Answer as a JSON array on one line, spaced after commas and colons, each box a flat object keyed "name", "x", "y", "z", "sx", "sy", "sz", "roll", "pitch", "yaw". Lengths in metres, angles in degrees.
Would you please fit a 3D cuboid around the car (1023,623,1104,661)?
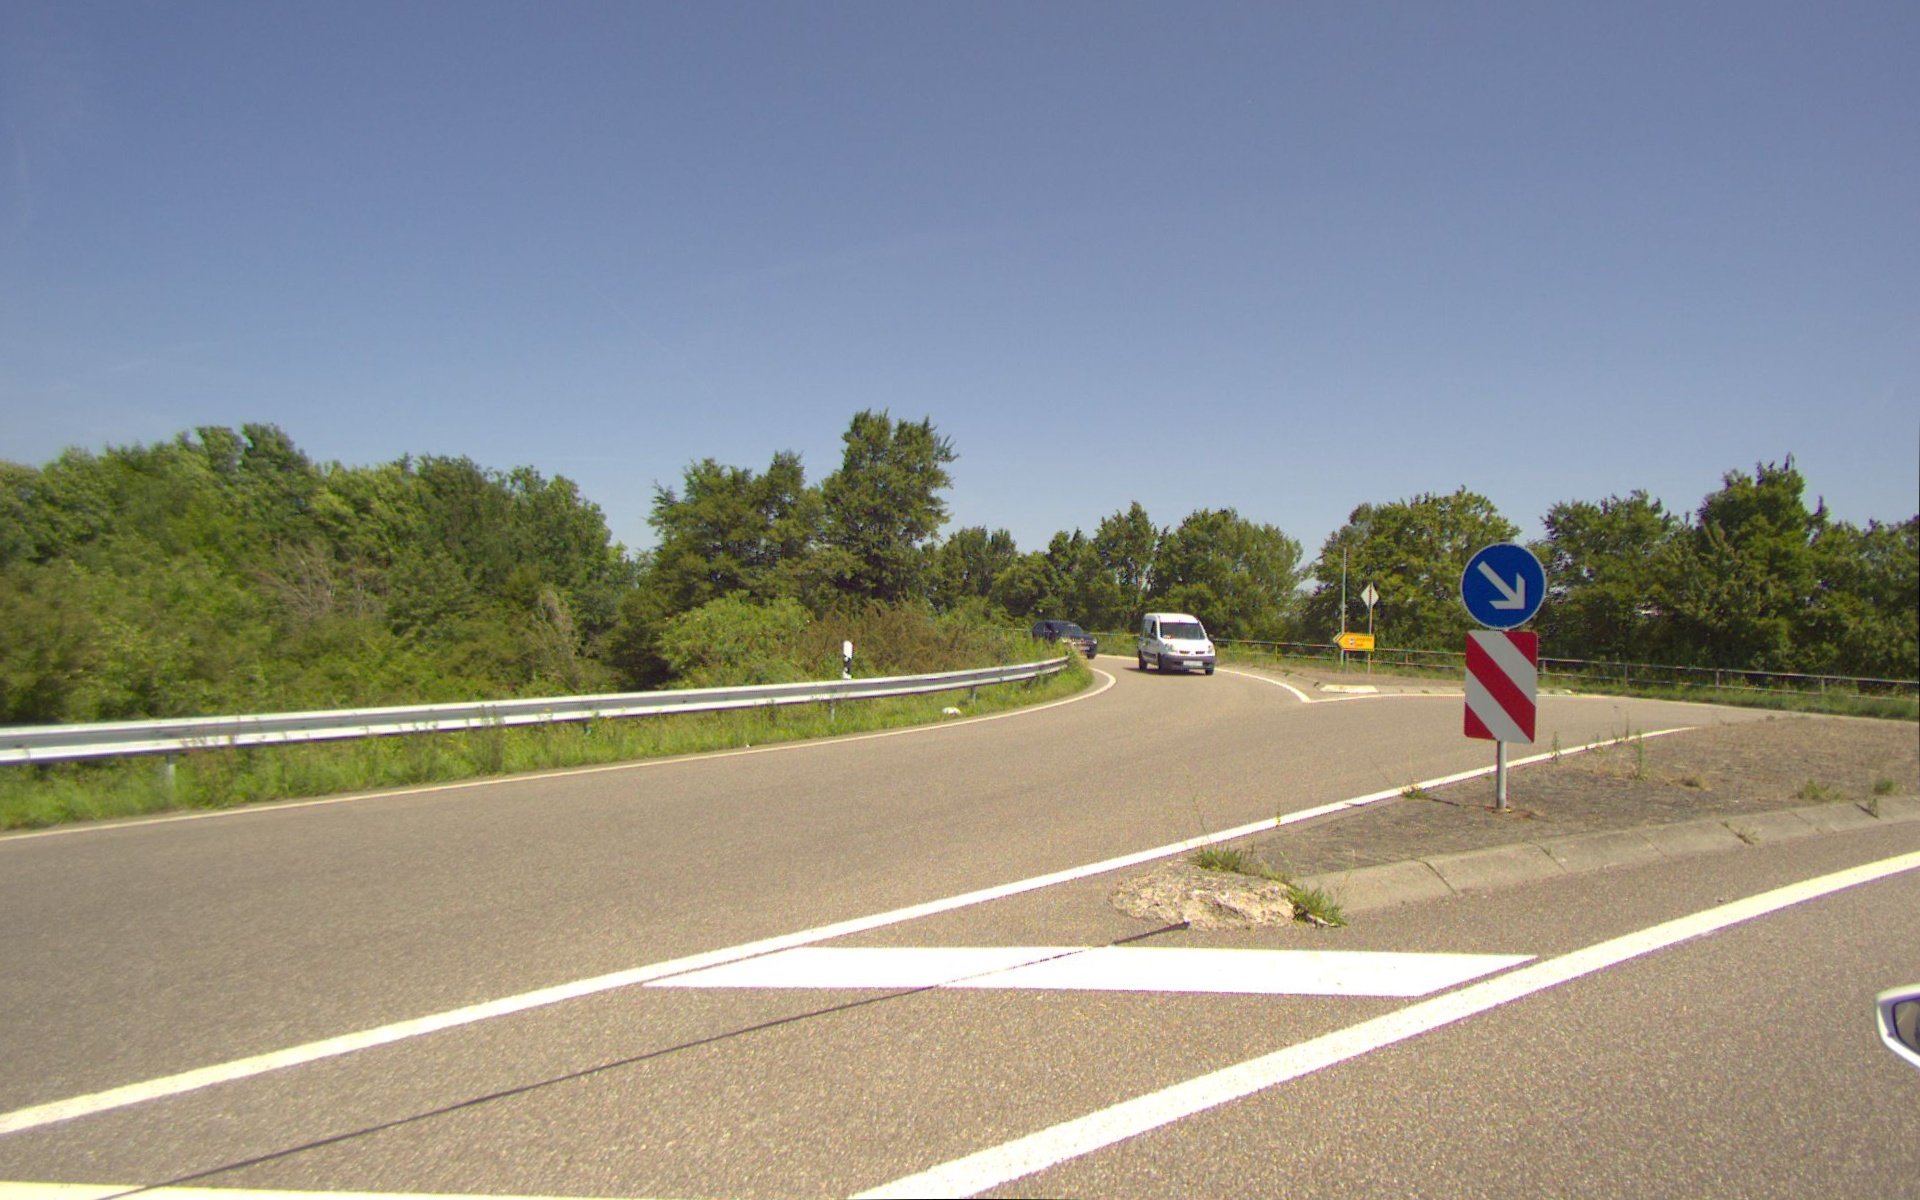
[{"name": "car", "x": 4.101, "y": 1.673, "z": 40.460, "sx": 1.688, "sy": 1.414, "sz": 3.868, "roll": 0, "pitch": -2, "yaw": -21}]

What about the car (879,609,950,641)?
[{"name": "car", "x": -2.747, "y": 1.485, "z": 59.842, "sx": 1.784, "sy": 1.604, "sz": 4.438, "roll": 5, "pitch": -2, "yaw": -40}]

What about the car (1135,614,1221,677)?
[{"name": "car", "x": 6.540, "y": 1.330, "z": 30.541, "sx": 1.708, "sy": 1.784, "sz": 4.083, "roll": 0, "pitch": -1, "yaw": 0}]
